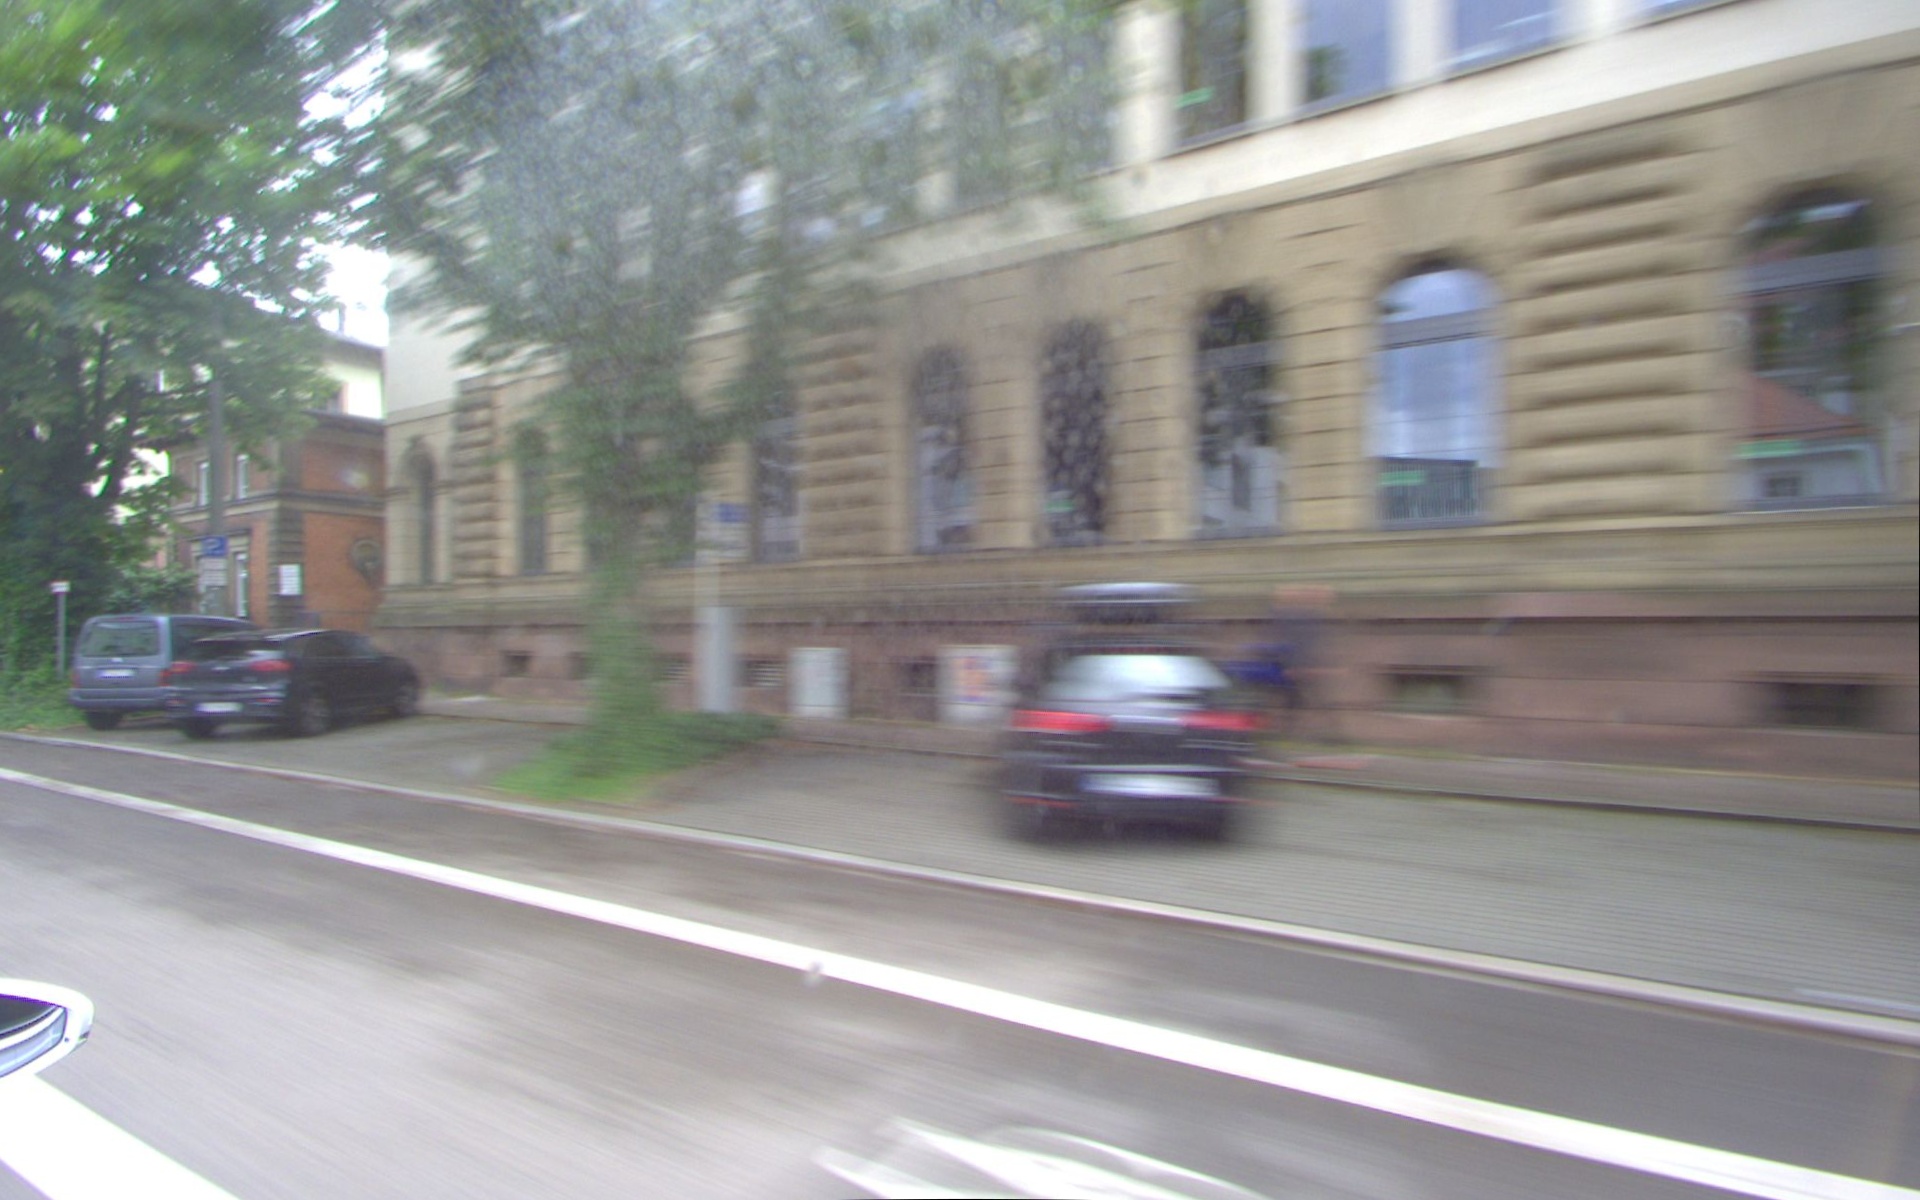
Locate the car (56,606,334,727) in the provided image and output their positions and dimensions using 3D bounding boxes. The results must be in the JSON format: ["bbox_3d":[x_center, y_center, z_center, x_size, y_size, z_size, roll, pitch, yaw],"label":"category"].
[{"bbox_3d":[-12.951,1.055,17.290,1.772,1.844,3.841,0,-1,2],"label":"car"}]

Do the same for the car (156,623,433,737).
[{"bbox_3d":[-10.312,1.154,15.934,1.828,1.559,4.000,0,-1,-2],"label":"car"}]

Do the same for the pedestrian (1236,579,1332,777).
[{"bbox_3d":[3.214,0.737,9.916,0.740,1.863,0.677,0,1,33],"label":"pedestrian"}]

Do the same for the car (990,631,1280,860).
[{"bbox_3d":[1.167,0.987,8.501,1.720,1.420,4.332,0,-1,0],"label":"car"}]
